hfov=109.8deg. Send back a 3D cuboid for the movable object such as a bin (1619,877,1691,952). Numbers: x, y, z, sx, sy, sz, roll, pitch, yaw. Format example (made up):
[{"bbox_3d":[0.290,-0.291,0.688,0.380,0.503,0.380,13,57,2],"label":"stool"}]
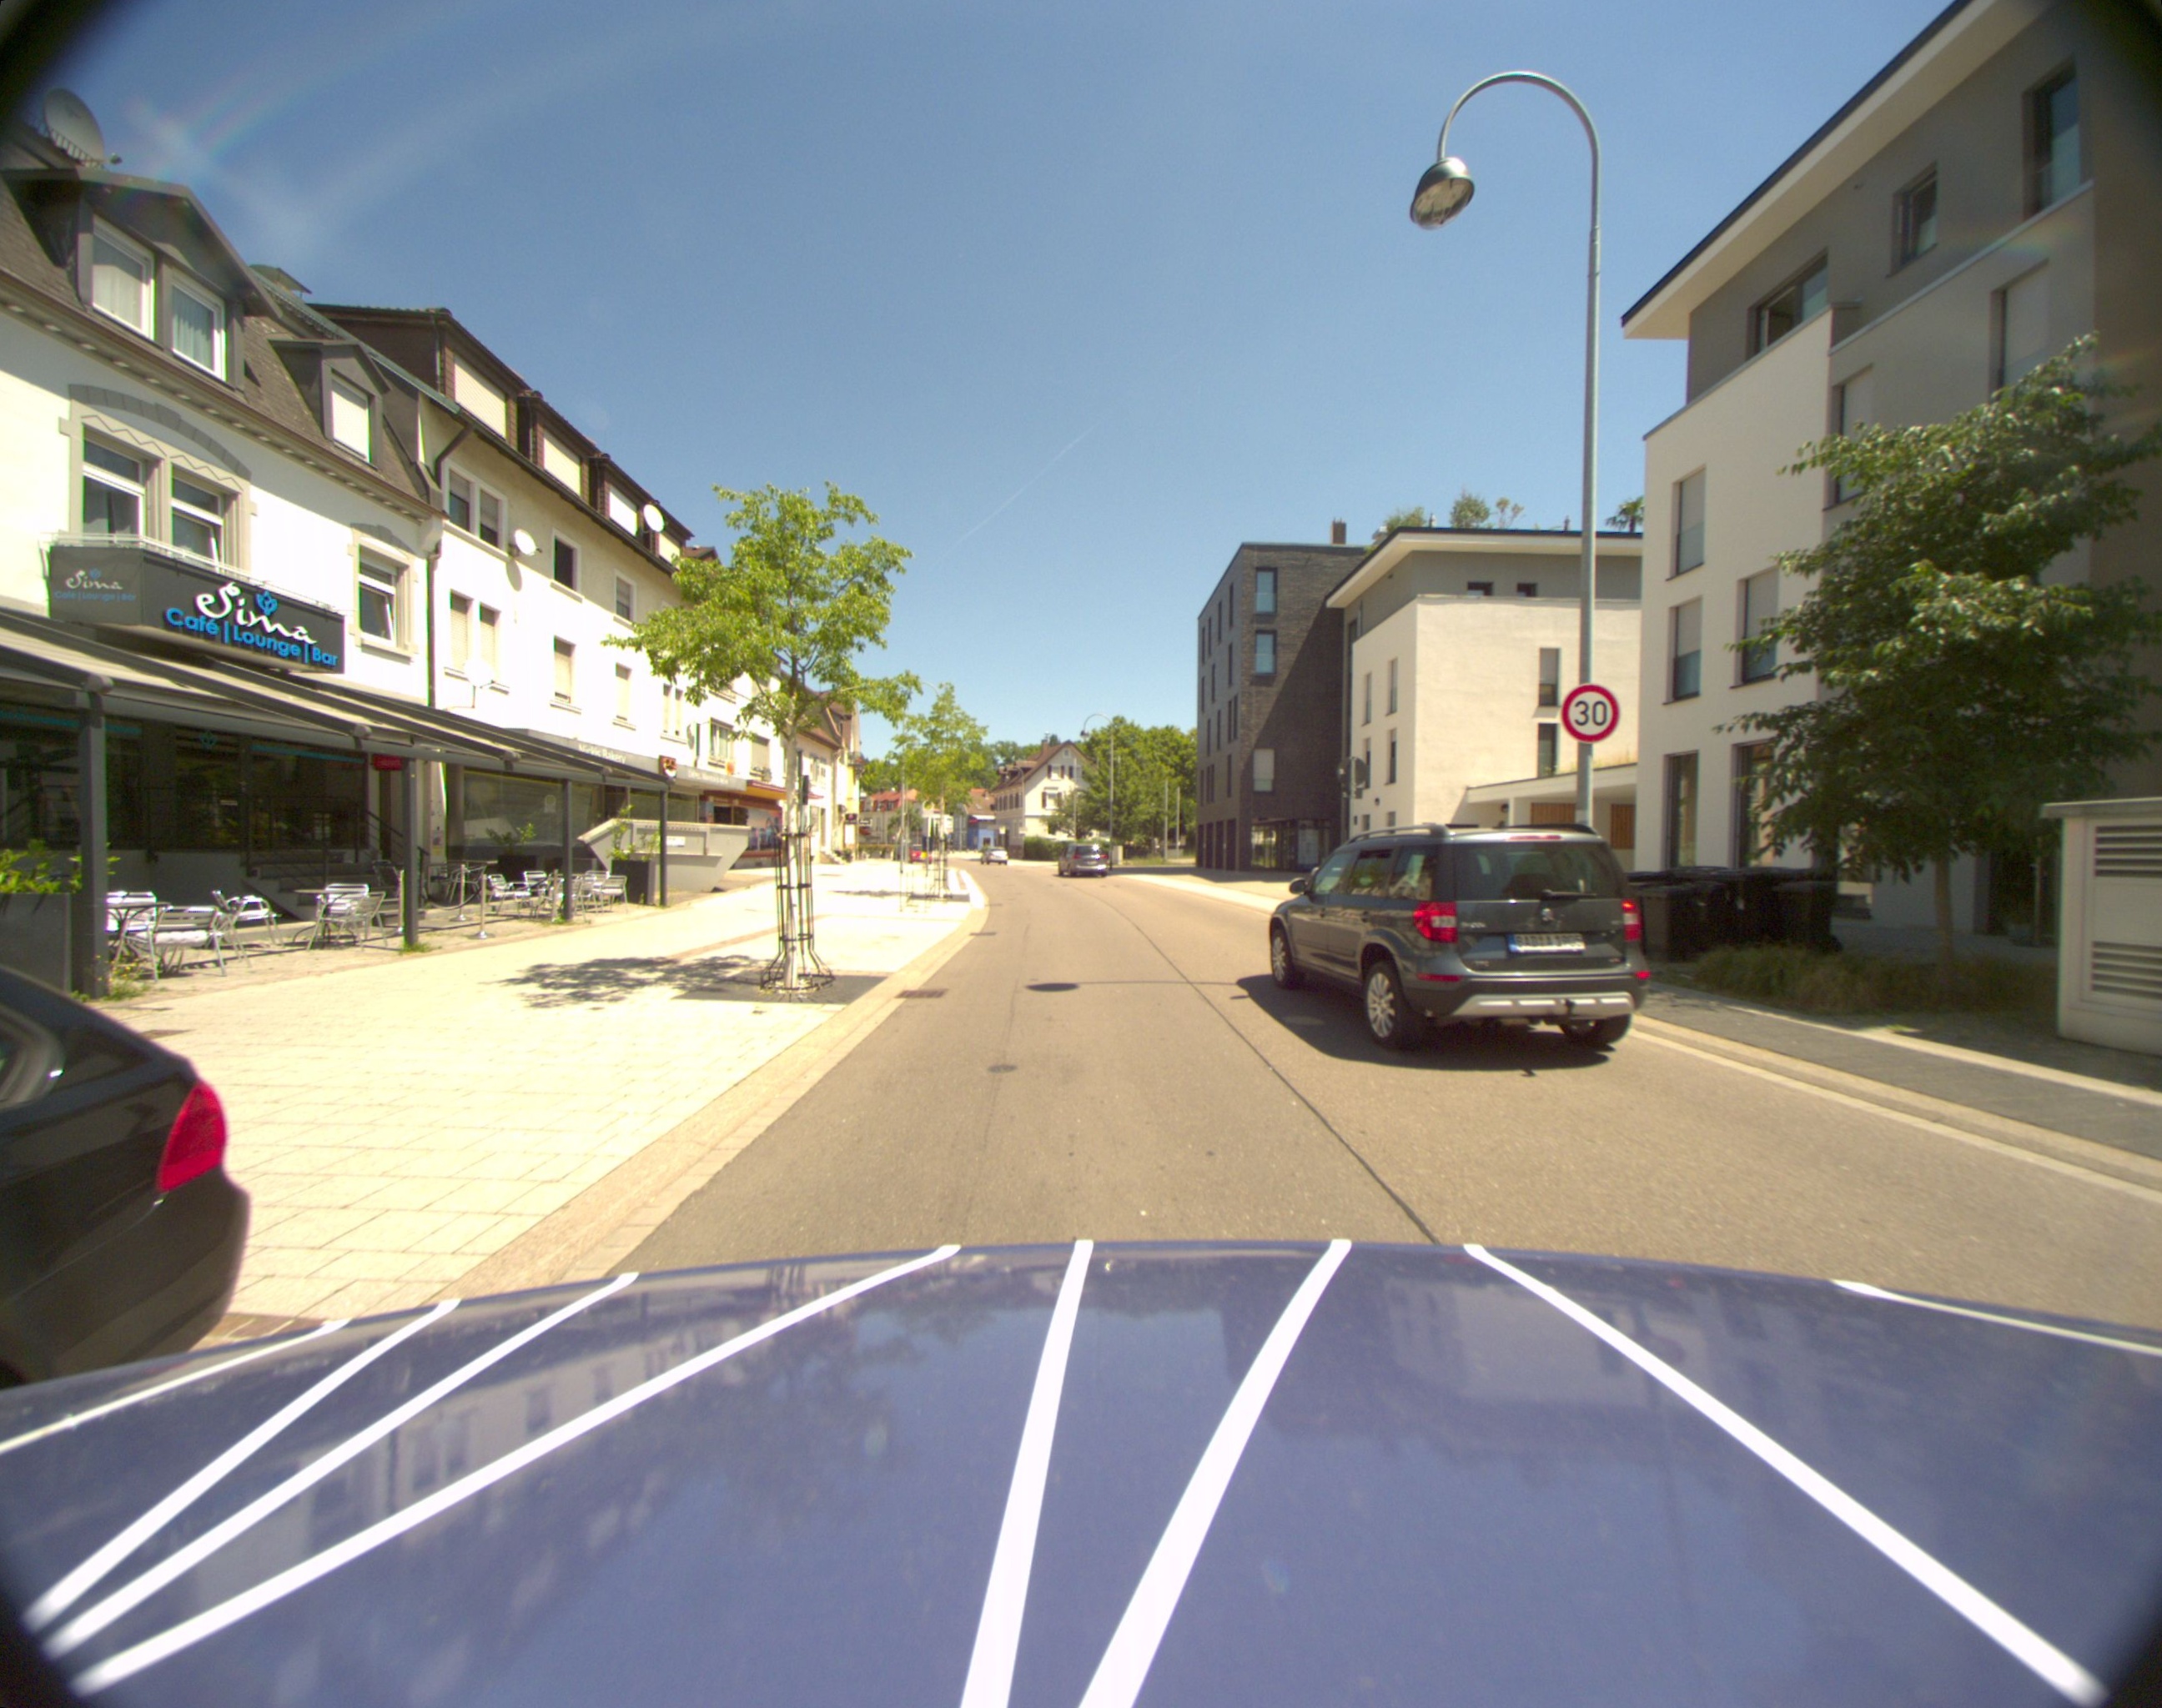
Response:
[{"bbox_3d":[8.458,0.872,11.211,0.622,1.033,0.581,0,1,-19],"label":"movable object such as a bin"}]

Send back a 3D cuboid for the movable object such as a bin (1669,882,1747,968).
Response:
[{"bbox_3d":[8.029,0.890,9.737,0.556,1.033,0.544,0,1,-19],"label":"movable object such as a bin"}]

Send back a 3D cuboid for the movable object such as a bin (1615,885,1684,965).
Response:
[{"bbox_3d":[7.334,0.910,9.819,0.555,0.992,0.427,0,1,0],"label":"movable object such as a bin"}]

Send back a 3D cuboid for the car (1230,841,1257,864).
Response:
[{"bbox_3d":[11.794,-0.156,55.181,1.697,1.478,4.082,4,2,10],"label":"car"}]

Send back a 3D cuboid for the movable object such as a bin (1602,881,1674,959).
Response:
[{"bbox_3d":[7.597,0.883,10.378,0.556,1.014,0.560,0,1,-6],"label":"movable object such as a bin"}]

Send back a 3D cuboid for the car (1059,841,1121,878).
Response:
[{"bbox_3d":[0.362,0.230,37.012,1.949,1.649,4.229,-1,1,-14],"label":"car"}]

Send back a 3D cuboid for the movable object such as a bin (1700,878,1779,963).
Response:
[{"bbox_3d":[8.591,0.848,9.923,0.578,1.033,0.549,0,1,-19],"label":"movable object such as a bin"}]

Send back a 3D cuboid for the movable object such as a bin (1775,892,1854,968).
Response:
[{"bbox_3d":[9.048,0.924,9.381,0.556,0.863,0.481,0,1,-19],"label":"movable object such as a bin"}]

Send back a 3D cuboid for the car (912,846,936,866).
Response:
[{"bbox_3d":[-12.222,0.104,59.008,1.685,1.505,3.382,-1,1,-14],"label":"car"}]

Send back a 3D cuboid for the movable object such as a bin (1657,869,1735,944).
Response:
[{"bbox_3d":[9.410,0.783,11.644,0.695,1.089,0.646,0,1,-19],"label":"movable object such as a bin"}]

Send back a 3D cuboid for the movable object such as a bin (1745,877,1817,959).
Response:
[{"bbox_3d":[9.294,0.828,10.098,0.556,1.033,0.481,0,1,-19],"label":"movable object such as a bin"}]

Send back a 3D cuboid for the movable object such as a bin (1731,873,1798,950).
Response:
[{"bbox_3d":[9.685,0.800,10.775,0.556,1.033,0.481,0,1,-19],"label":"movable object such as a bin"}]

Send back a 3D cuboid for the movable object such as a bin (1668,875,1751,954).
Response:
[{"bbox_3d":[8.789,0.824,10.636,0.678,1.033,0.603,0,1,-19],"label":"movable object such as a bin"}]

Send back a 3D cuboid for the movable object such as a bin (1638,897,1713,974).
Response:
[{"bbox_3d":[7.232,0.981,9.251,0.556,0.863,0.481,0,1,-19],"label":"movable object such as a bin"}]

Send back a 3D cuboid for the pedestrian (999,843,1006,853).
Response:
[{"bbox_3d":[-8.450,-0.674,82.059,0.599,1.053,0.566,-1,2,-22],"label":"pedestrian"}]

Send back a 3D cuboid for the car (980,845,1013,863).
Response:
[{"bbox_3d":[-6.896,0.000,61.850,1.674,1.388,3.840,0,1,-22],"label":"car"}]

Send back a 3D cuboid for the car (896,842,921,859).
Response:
[{"bbox_3d":[-16.210,-0.371,71.284,1.737,1.464,4.315,2,0,-20],"label":"car"}]

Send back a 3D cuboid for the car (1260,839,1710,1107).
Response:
[{"bbox_3d":[3.049,0.731,6.859,1.815,1.691,4.075,0,1,-1],"label":"car"}]
